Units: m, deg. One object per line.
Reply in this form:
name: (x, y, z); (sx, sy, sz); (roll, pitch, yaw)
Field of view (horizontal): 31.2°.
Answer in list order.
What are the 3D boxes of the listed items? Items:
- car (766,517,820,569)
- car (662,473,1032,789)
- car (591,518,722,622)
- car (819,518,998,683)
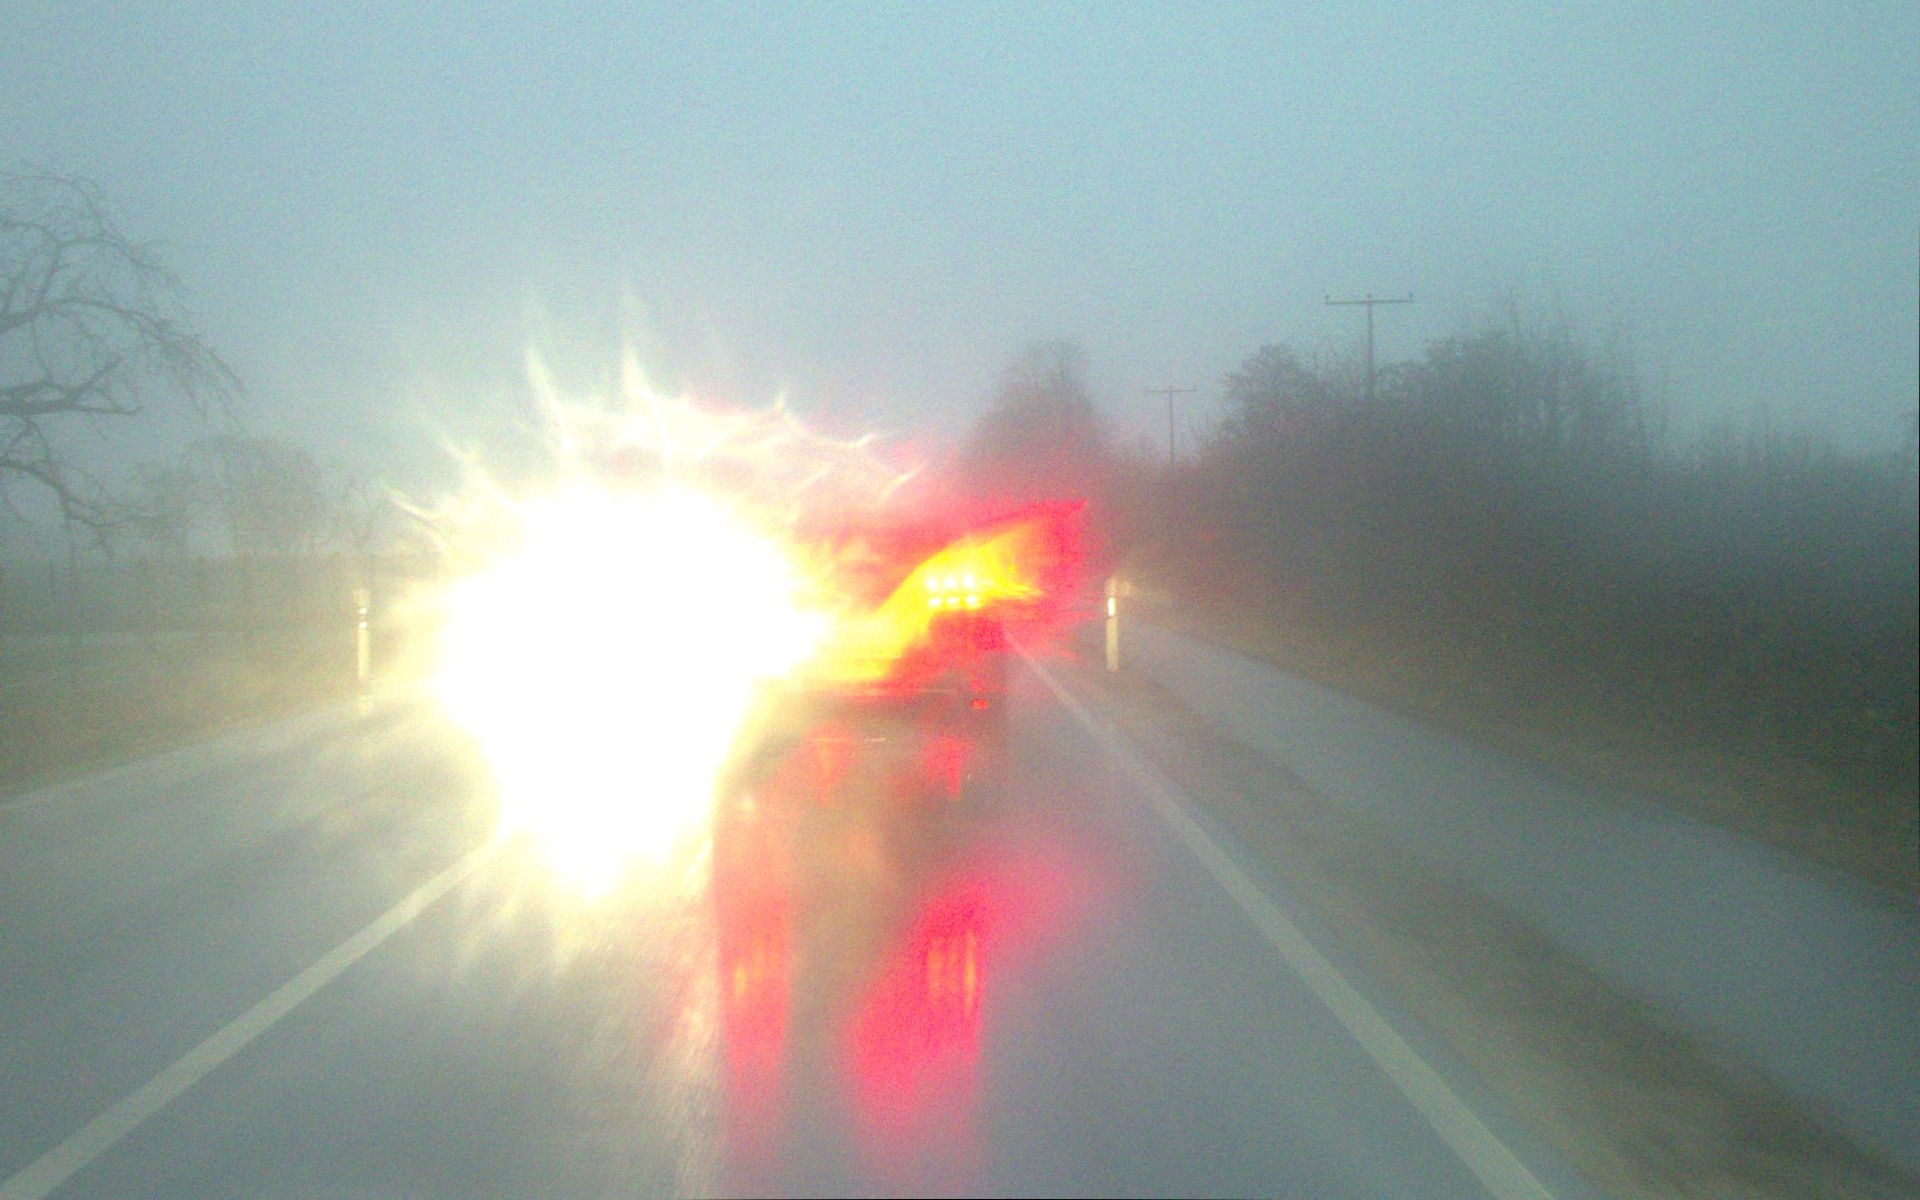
car: (-6.117, -2.102, 126.449); (1.824, 1.800, 4.495); (-2, 1, -2)
car: (-0.669, 0.122, 22.228); (2.120, 1.813, 4.980); (0, 1, 0)
car: (-4.859, -0.519, 55.453); (1.761, 1.550, 4.000); (-2, 2, -1)
car: (-0.597, -0.025, 40.727); (1.993, 1.843, 4.000); (1, 1, 0)
